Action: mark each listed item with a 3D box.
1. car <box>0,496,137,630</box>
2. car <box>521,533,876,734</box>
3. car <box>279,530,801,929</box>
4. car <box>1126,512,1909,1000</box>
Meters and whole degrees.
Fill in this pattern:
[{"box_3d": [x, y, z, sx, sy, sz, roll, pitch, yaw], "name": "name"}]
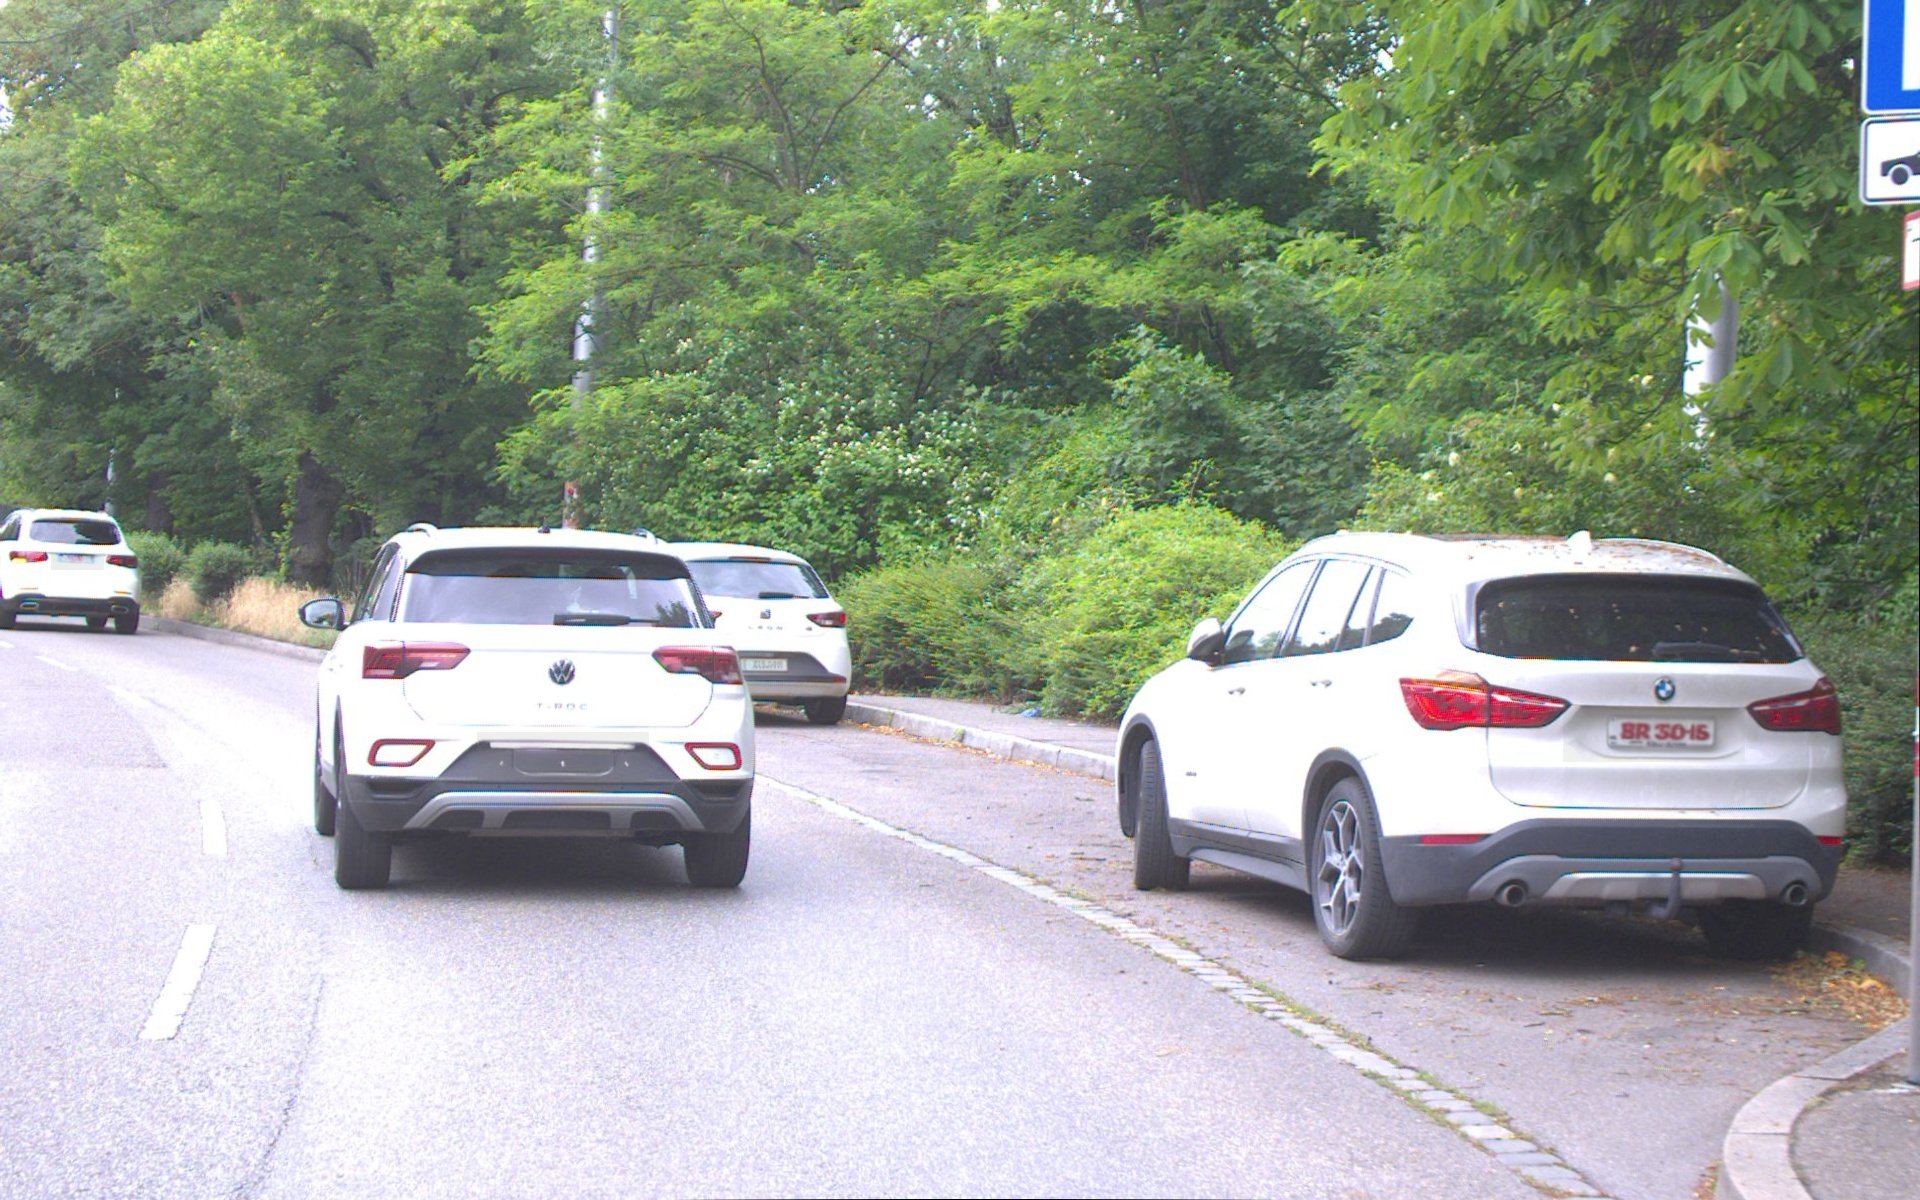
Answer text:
[{"box_3d": [-12.529, -0.545, 46.958, 1.851, 1.697, 4.001, 0, 2, -23], "name": "car"}, {"box_3d": [-2.300, 0.277, 28.947, 1.732, 1.478, 4.702, 3, -1, -20], "name": "car"}, {"box_3d": [-2.078, 0.485, 15.929, 2.000, 1.590, 4.001, 0, 1, -13], "name": "car"}, {"box_3d": [2.020, 0.489, 13.875, 1.758, 1.646, 4.382, 0, 1, -10], "name": "car"}]
